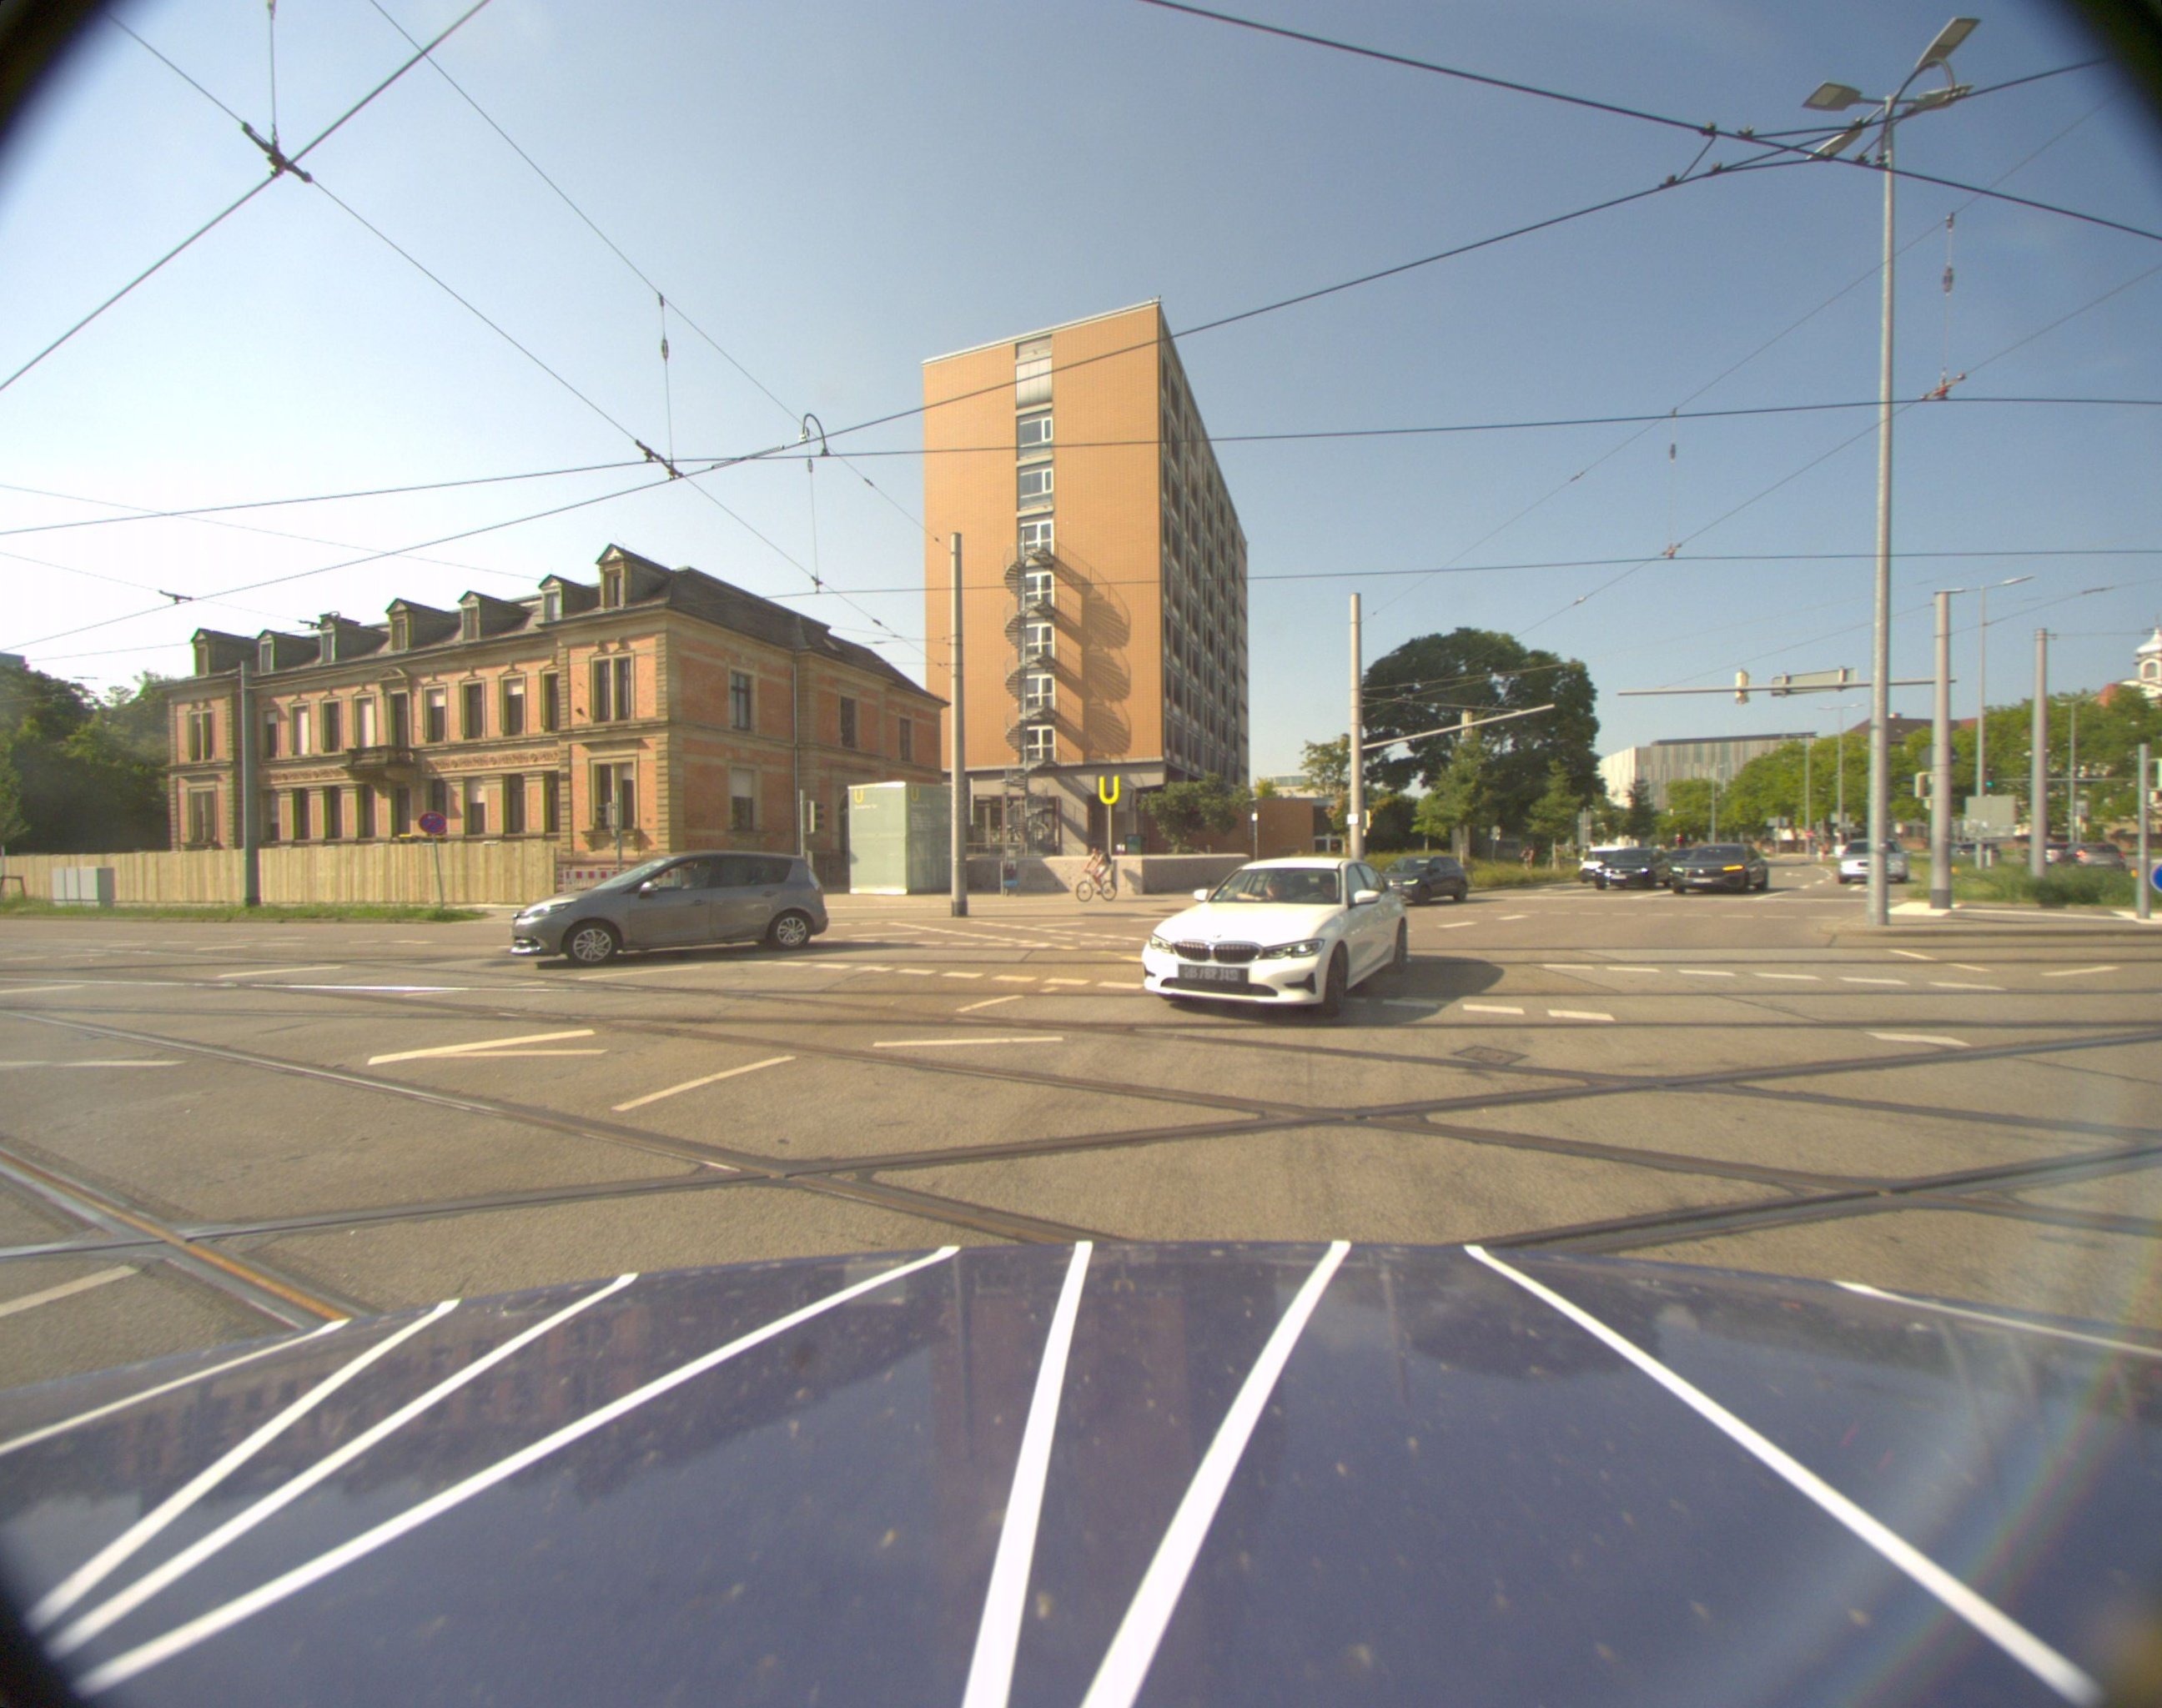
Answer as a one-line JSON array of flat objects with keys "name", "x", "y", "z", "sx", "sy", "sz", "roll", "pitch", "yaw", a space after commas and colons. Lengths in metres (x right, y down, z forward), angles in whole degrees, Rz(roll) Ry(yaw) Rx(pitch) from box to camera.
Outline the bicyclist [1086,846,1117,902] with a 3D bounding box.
[{"name": "bicyclist", "x": 0.682, "y": 0.658, "z": 25.571, "sx": 0.711, "sy": 1.851, "sz": 0.780, "roll": -1, "pitch": 1, "yaw": -28}]

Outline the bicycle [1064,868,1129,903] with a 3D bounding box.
[{"name": "bicycle", "x": 0.526, "y": 1.038, "z": 25.401, "sx": 2.190, "sy": 1.089, "sz": 0.528, "roll": -1, "pitch": 1, "yaw": -29}]

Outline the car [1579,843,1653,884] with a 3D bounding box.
[{"name": "car", "x": 26.074, "y": 0.447, "z": 37.003, "sx": 4.298, "sy": 1.875, "sz": 1.790, "roll": -1, "pitch": -1, "yaw": -39}]

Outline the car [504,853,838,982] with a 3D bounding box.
[{"name": "car", "x": -6.233, "y": 0.839, "z": 11.810, "sx": 4.298, "sy": 1.614, "sz": 1.810, "roll": -1, "pitch": -1, "yaw": -36}]

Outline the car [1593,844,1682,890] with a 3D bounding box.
[{"name": "car", "x": 22.204, "y": 0.509, "z": 30.285, "sx": 4.298, "sy": 1.696, "sz": 1.764, "roll": -1, "pitch": -1, "yaw": -39}]

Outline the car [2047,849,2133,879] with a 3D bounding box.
[{"name": "car", "x": 53.105, "y": 0.476, "z": 40.080, "sx": 1.777, "sy": 1.499, "sz": 4.008, "roll": 0, "pitch": 0, "yaw": 39}]

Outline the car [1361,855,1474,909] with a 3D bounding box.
[{"name": "car", "x": 10.950, "y": 0.855, "z": 24.627, "sx": 3.984, "sy": 1.572, "sz": 1.739, "roll": -1, "pitch": -1, "yaw": -39}]

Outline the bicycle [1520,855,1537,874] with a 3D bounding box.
[{"name": "bicycle", "x": 28.800, "y": 0.639, "z": 48.870, "sx": 1.776, "sy": 1.187, "sz": 0.400, "roll": -1, "pitch": 1, "yaw": -41}]

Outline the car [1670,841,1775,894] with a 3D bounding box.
[{"name": "car", "x": 22.134, "y": 0.443, "z": 26.165, "sx": 4.298, "sy": 1.696, "sz": 1.921, "roll": -1, "pitch": -1, "yaw": -39}]

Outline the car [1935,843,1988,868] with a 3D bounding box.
[{"name": "car", "x": 53.548, "y": 0.085, "z": 46.268, "sx": 1.489, "sy": 1.442, "sz": 3.531, "roll": 0, "pitch": 0, "yaw": 39}]

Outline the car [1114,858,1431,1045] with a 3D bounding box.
[{"name": "car", "x": 2.444, "y": 0.803, "z": 8.515, "sx": 1.810, "sy": 1.419, "sz": 4.784, "roll": -1, "pitch": 0, "yaw": 35}]

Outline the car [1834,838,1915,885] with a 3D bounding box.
[{"name": "car", "x": 31.194, "y": 0.280, "z": 29.836, "sx": 4.298, "sy": 1.696, "sz": 1.947, "roll": -1, "pitch": -2, "yaw": -41}]
